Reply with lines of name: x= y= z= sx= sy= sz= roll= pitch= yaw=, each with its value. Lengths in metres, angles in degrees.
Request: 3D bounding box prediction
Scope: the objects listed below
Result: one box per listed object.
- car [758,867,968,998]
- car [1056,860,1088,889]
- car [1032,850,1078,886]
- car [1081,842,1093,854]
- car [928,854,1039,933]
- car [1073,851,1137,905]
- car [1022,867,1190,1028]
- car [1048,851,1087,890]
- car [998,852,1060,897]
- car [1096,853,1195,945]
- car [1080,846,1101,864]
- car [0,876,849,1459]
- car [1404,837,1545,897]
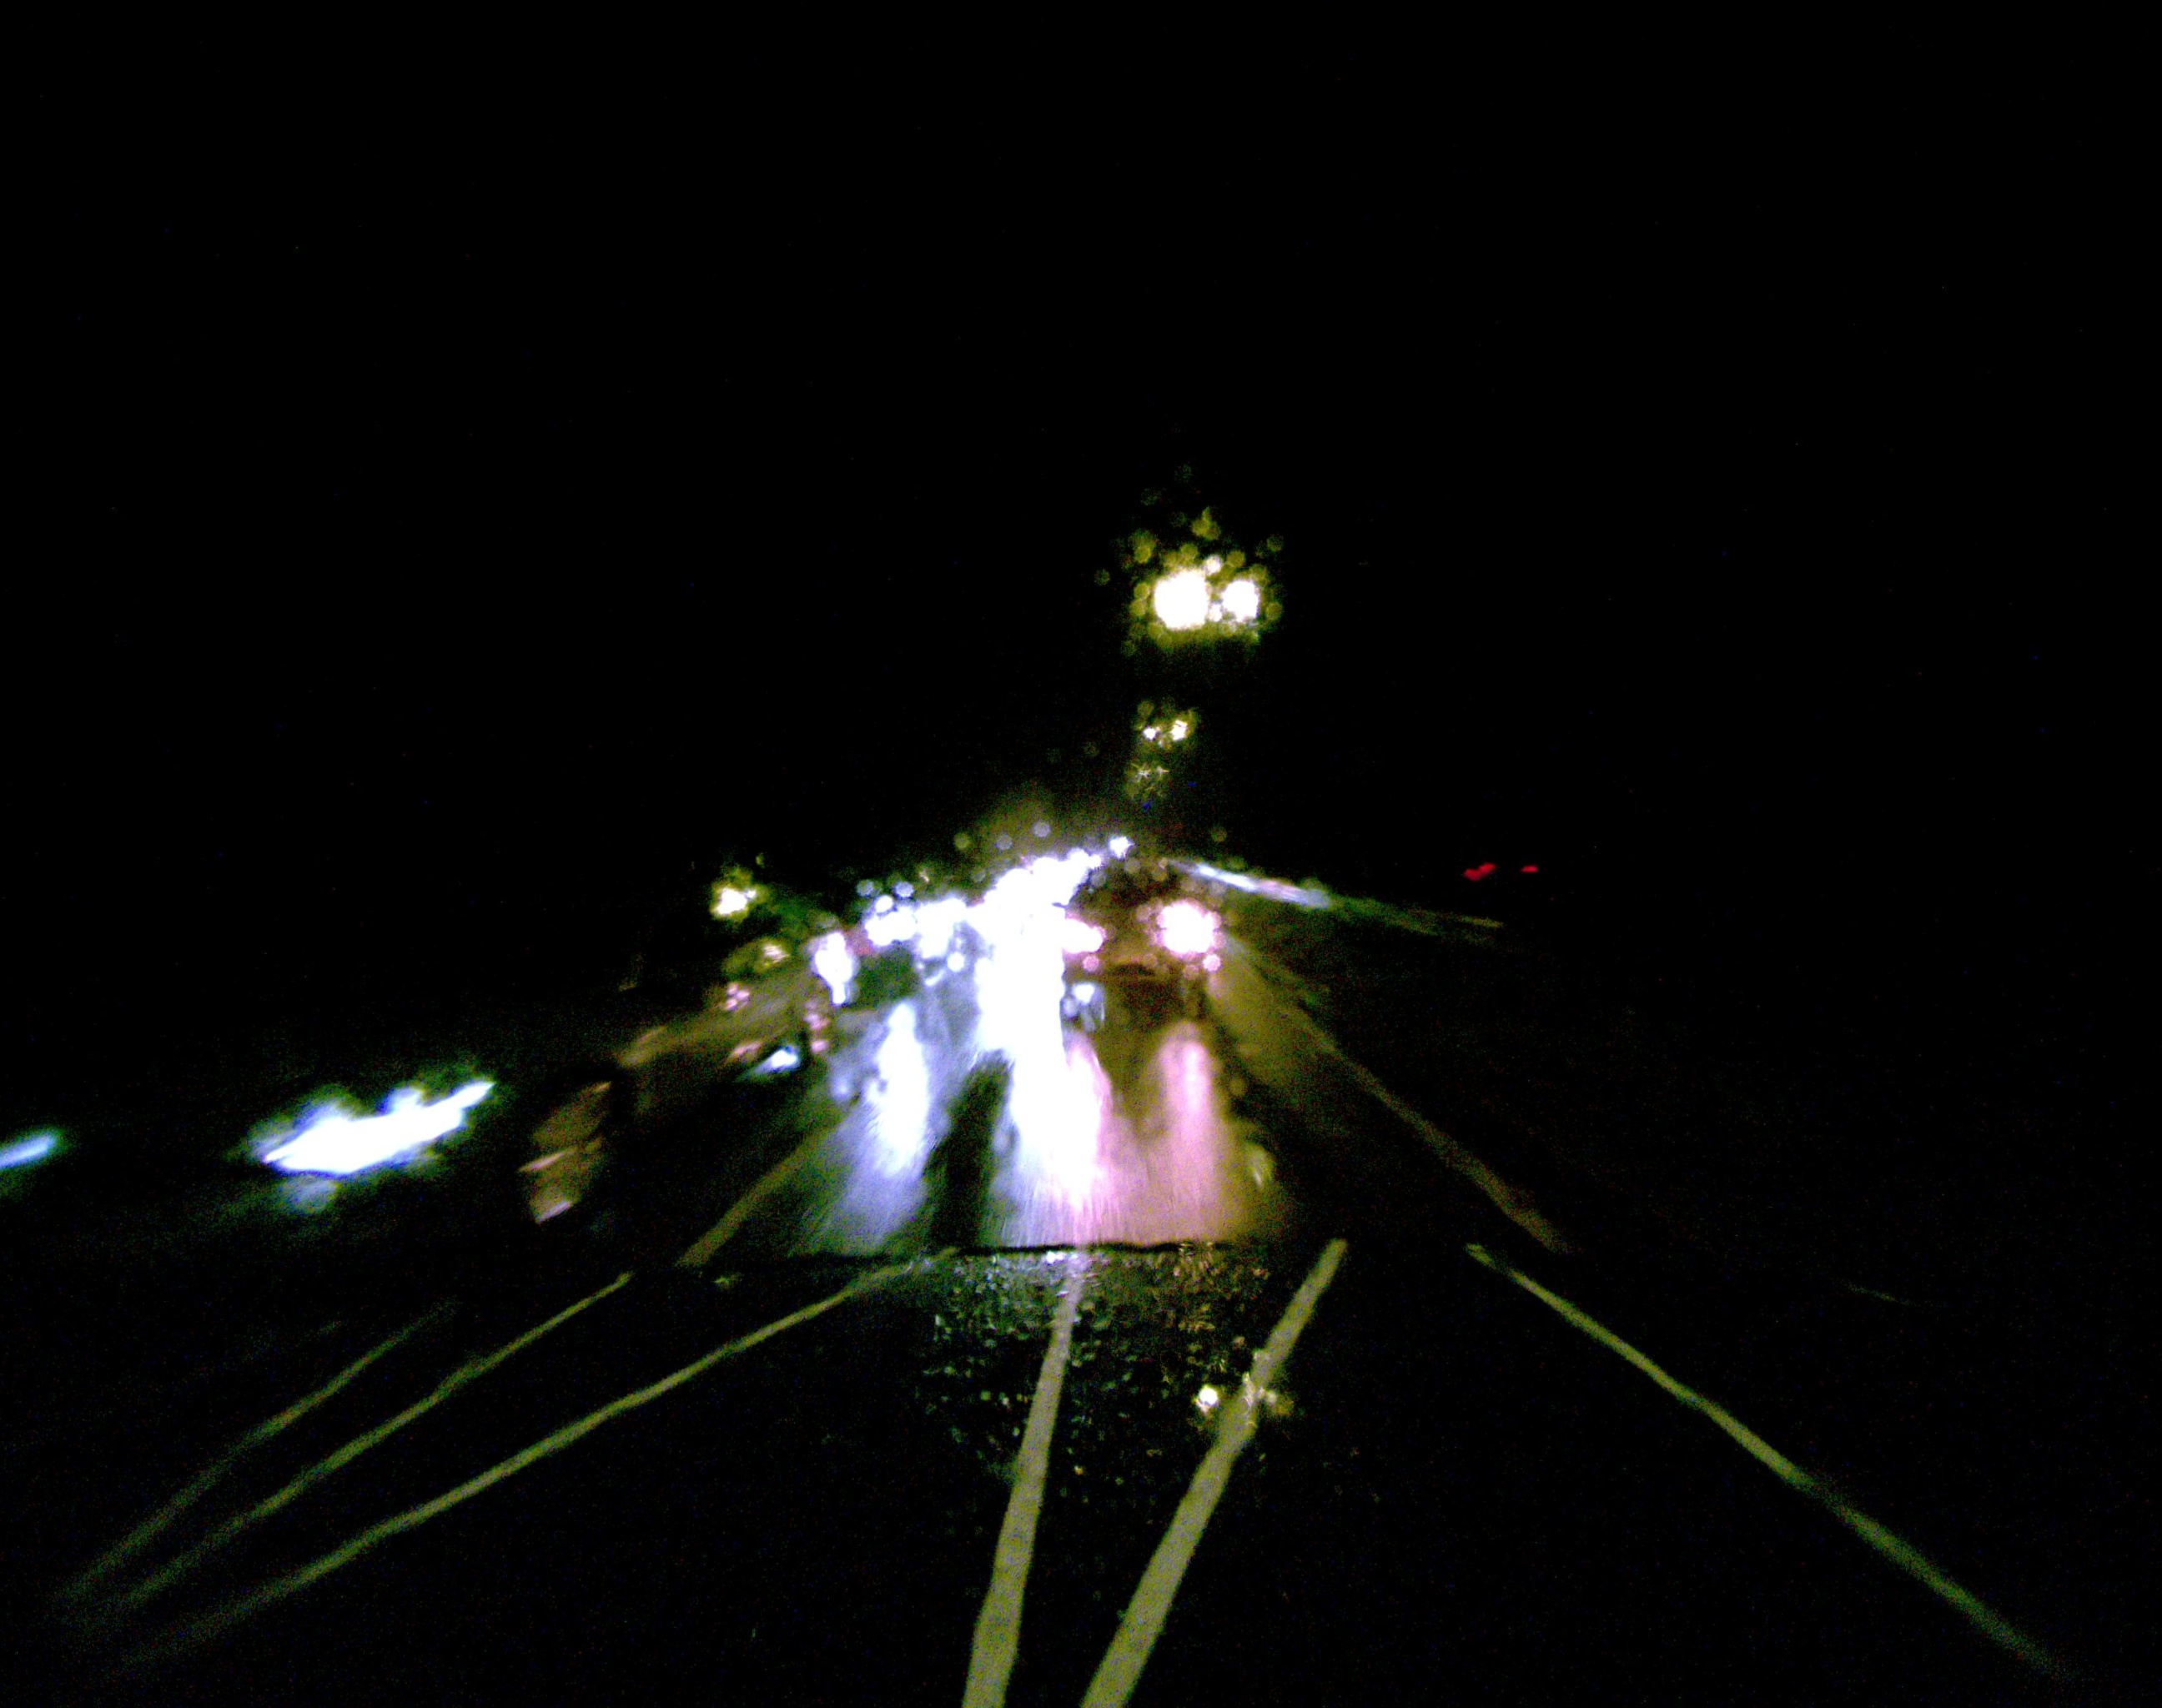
car: x=-2.984 y=1.001 z=11.379 sx=1.743 sy=1.409 sz=4.140 roll=-2 pitch=1 yaw=2
car: x=-0.592 y=1.343 z=51.604 sx=1.998 sy=1.789 sz=4.000 roll=-1 pitch=1 yaw=1
car: x=-1.198 y=0.616 z=37.031 sx=1.998 sy=1.589 sz=4.391 roll=-1 pitch=1 yaw=1
car: x=1.060 y=-1.047 z=133.349 sx=1.998 sy=2.002 sz=3.999 roll=-1 pitch=1 yaw=1
car: x=-2.187 y=0.841 z=18.301 sx=1.998 sy=1.589 sz=4.391 roll=-1 pitch=1 yaw=1
car: x=0.769 y=0.717 z=24.735 sx=1.838 sy=1.417 sz=3.698 roll=-4 pitch=1 yaw=1
car: x=0.272 y=0.911 z=8.848 sx=1.497 sy=1.416 sz=3.390 roll=-3 pitch=-1 yaw=1
car: x=-0.739 y=0.886 z=43.485 sx=1.998 sy=2.002 sz=3.999 roll=-2 pitch=1 yaw=1
car: x=-1.969 y=0.740 z=29.878 sx=1.998 sy=1.589 sz=4.391 roll=-1 pitch=1 yaw=1
car: x=1.142 y=0.777 z=14.742 sx=1.606 sy=1.417 sz=3.389 roll=-4 pitch=1 yaw=1
car: x=0.925 y=0.041 z=72.842 sx=1.869 sy=1.654 sz=4.000 roll=-1 pitch=1 yaw=2
car: x=-2.999 y=1.015 z=4.460 sx=1.711 sy=1.513 sz=4.414 roll=-2 pitch=1 yaw=2
car: x=12.083 y=0.368 z=23.781 sx=1.998 sy=1.499 sz=4.840 roll=-5 pitch=0 yaw=3
